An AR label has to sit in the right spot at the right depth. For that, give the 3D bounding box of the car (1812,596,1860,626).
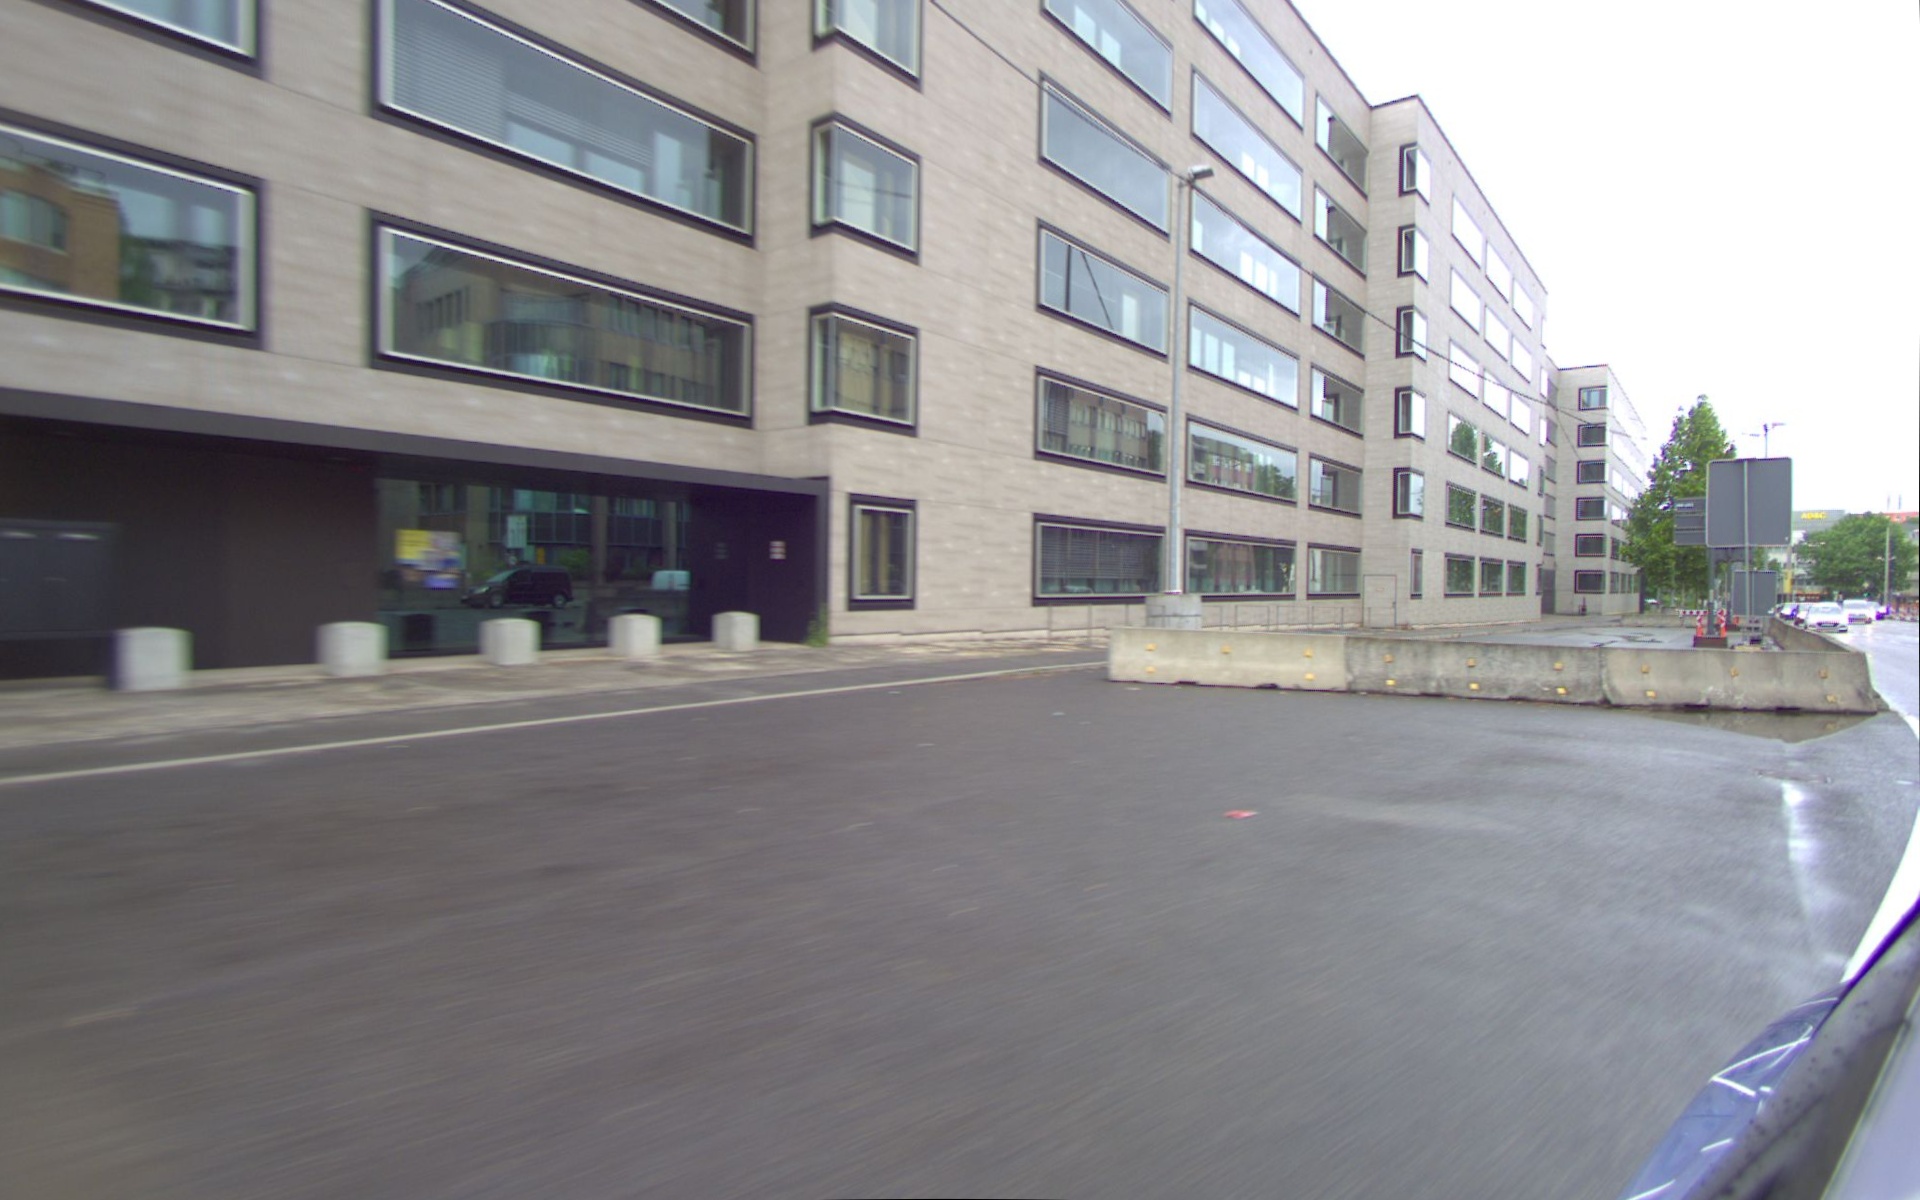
[{"bbox_3d":[48.012,0.596,55.545,1.764,1.553,4.592,1,1,38],"label":"car"}]

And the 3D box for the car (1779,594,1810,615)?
[{"bbox_3d":[66.560,0.351,80.755,1.764,1.553,4.592,1,1,38],"label":"car"}]

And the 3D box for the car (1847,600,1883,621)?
[{"bbox_3d":[69.645,0.791,77.904,1.764,1.553,4.592,1,1,38],"label":"car"}]

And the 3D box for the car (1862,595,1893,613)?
[{"bbox_3d":[84.930,0.378,93.689,1.764,1.553,4.592,1,1,38],"label":"car"}]

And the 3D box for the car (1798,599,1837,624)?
[{"bbox_3d":[57.025,0.746,67.331,1.764,1.553,4.592,1,1,38],"label":"car"}]
